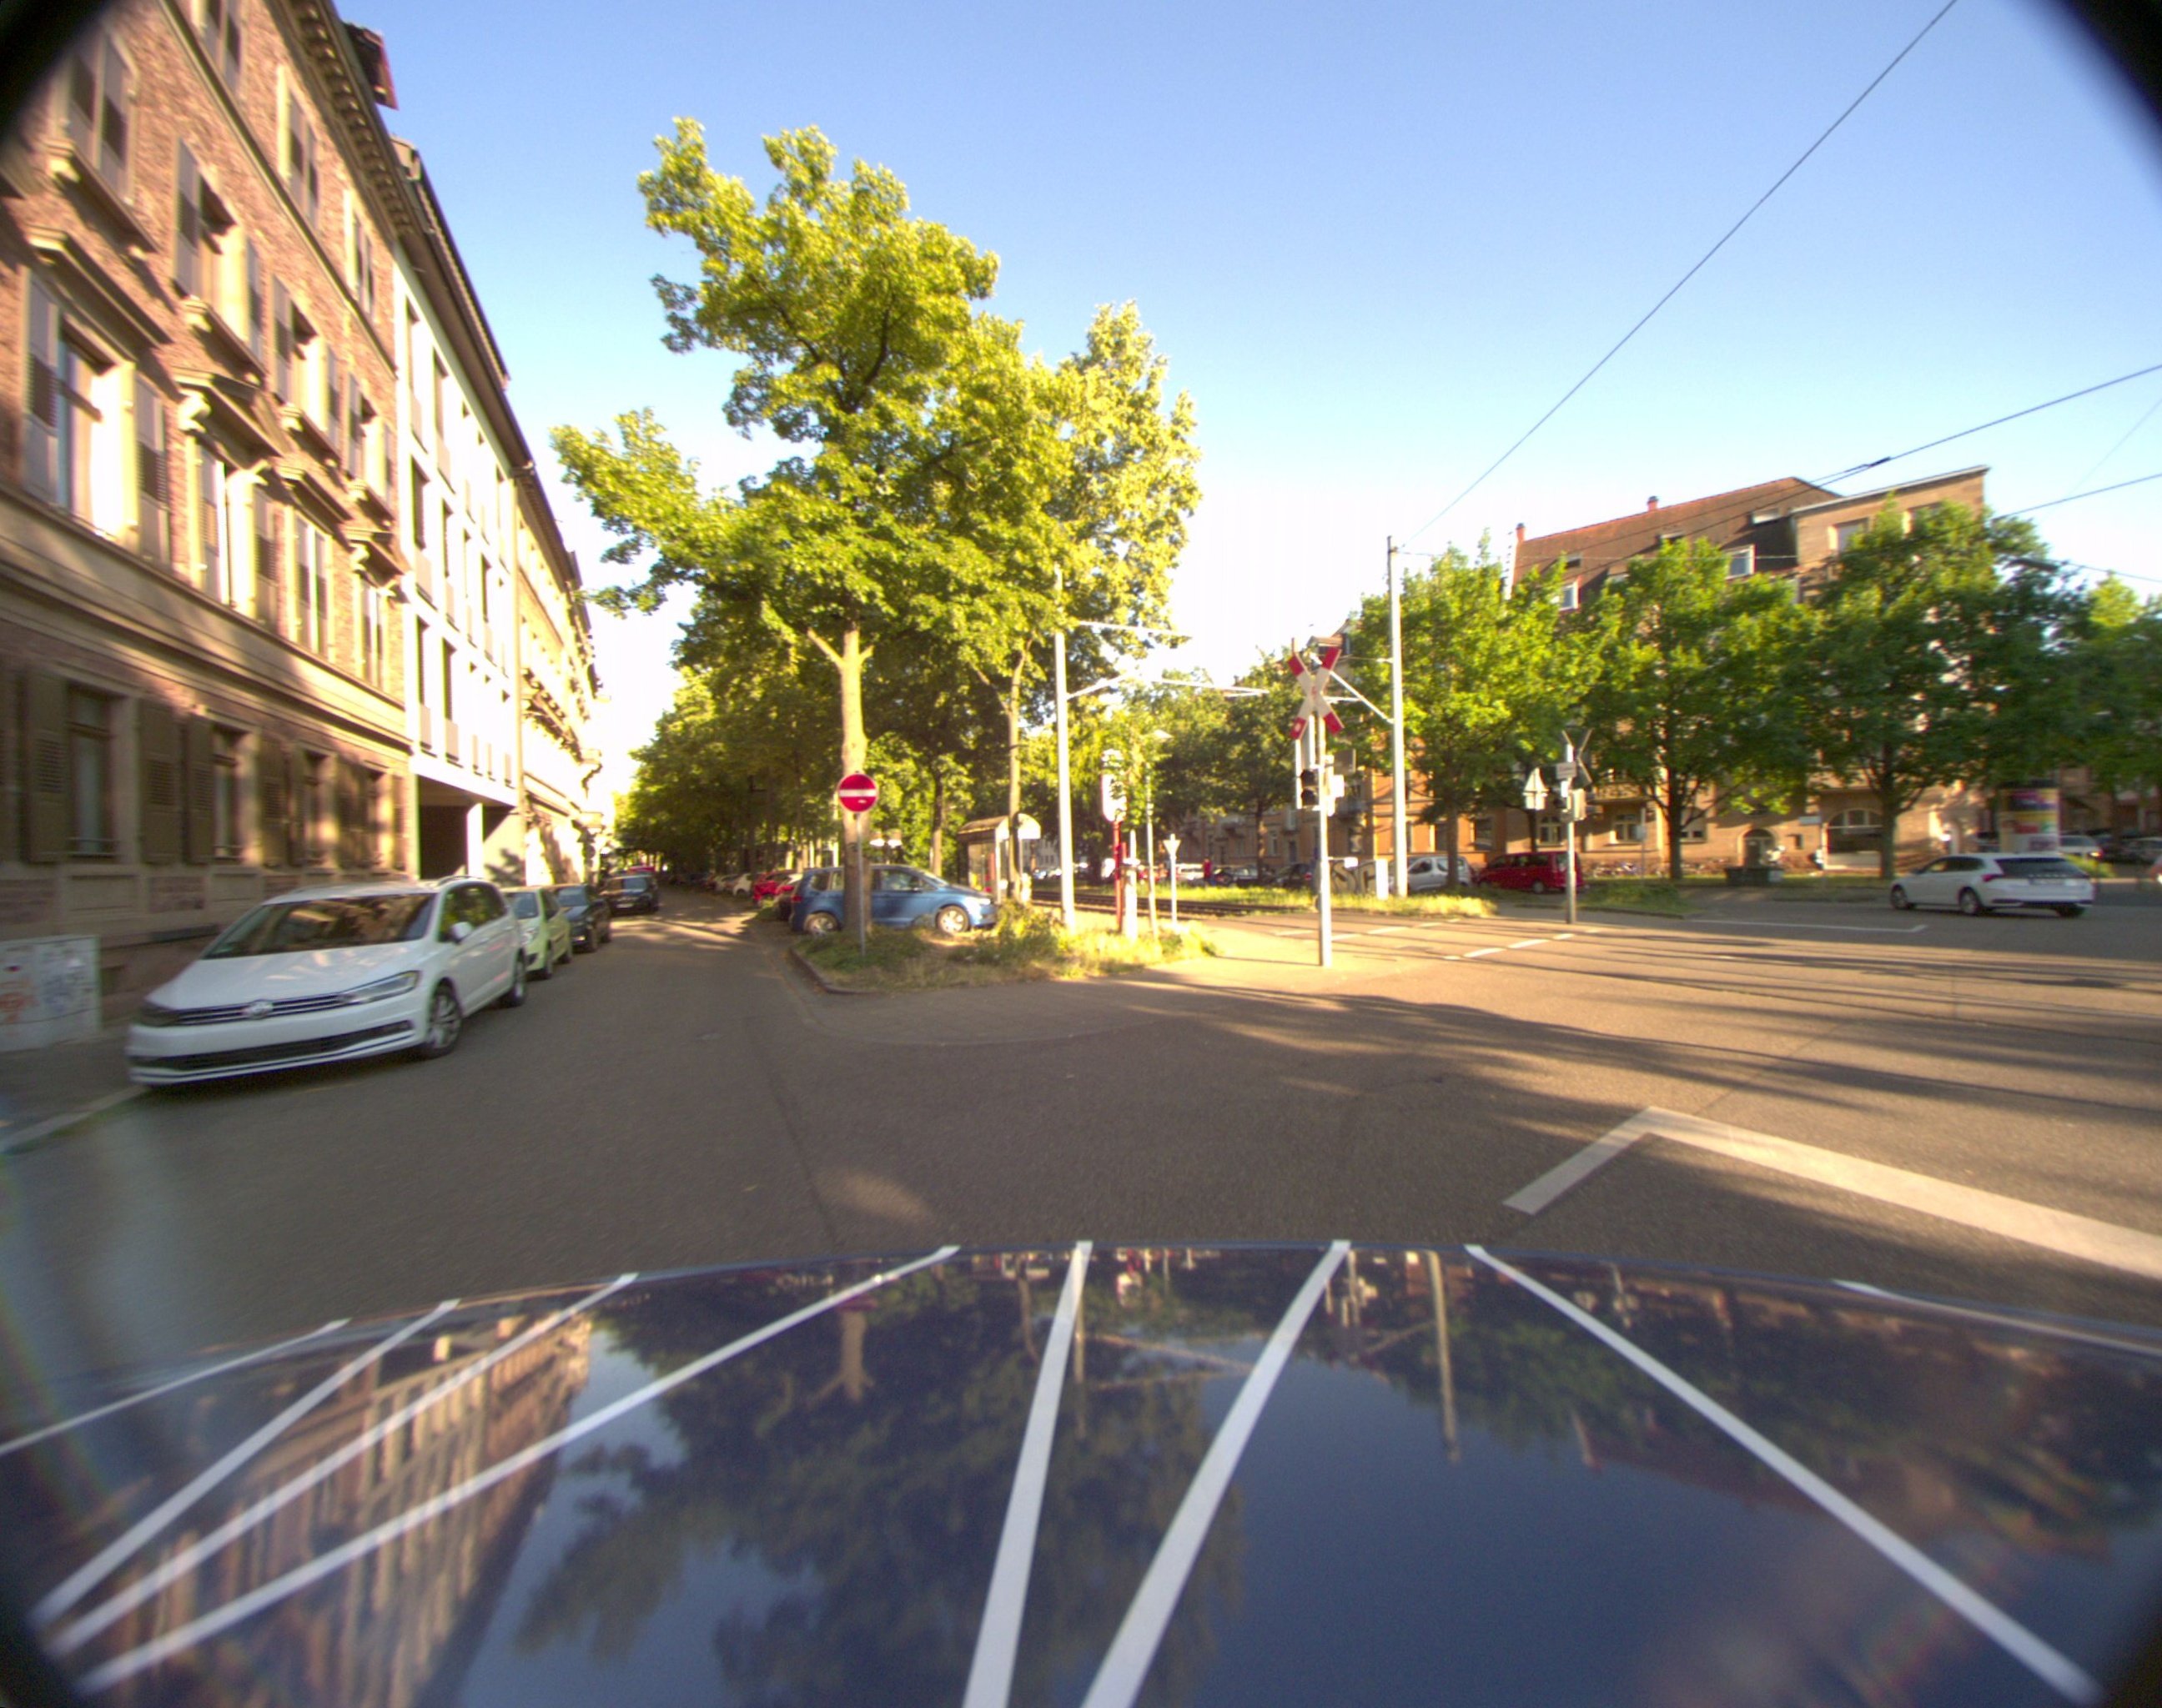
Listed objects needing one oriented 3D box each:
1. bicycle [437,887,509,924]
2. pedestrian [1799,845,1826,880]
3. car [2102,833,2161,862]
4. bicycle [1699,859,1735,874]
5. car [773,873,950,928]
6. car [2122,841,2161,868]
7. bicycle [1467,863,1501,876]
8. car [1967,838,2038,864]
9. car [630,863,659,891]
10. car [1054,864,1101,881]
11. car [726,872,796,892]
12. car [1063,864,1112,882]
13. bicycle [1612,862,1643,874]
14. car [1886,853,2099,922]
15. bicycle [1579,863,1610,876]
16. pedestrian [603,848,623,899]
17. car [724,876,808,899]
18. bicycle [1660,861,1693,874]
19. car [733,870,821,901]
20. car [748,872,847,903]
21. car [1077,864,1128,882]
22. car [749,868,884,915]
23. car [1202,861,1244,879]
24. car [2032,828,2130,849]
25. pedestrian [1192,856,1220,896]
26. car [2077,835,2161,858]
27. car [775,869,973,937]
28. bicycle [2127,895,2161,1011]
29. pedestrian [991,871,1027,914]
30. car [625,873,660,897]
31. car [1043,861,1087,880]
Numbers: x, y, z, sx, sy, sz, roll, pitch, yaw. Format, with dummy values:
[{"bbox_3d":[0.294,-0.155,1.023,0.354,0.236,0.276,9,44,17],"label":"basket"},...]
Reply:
[{"bbox_3d":[-20.724,1.743,25.958,0.682,1.110,2.097,-1,0,2],"label":"bicycle"},{"bbox_3d":[36.450,0.417,37.871,0.909,1.708,0.677,-1,2,41],"label":"pedestrian"},{"bbox_3d":[63.491,-0.388,44.649,3.994,1.626,1.875,-1,0,9],"label":"car"},{"bbox_3d":[35.494,0.706,42.441,1.506,0.728,0.369,-4,-1,37],"label":"bicycle"},{"bbox_3d":[-6.273,1.314,22.067,4.548,1.478,1.930,-1,-1,4],"label":"car"},{"bbox_3d":[61.359,0.002,42.212,3.994,1.496,1.875,-1,0,9],"label":"car"},{"bbox_3d":[26.298,1.020,49.603,1.894,0.843,0.527,-2,-1,37],"label":"bicycle"},{"bbox_3d":[52.780,-0.147,43.596,1.868,1.391,4.008,-1,0,40],"label":"car"},{"bbox_3d":[-35.798,1.848,62.420,2.003,2.159,4.602,0,-1,-29],"label":"car"},{"bbox_3d":[-0.339,1.698,70.088,4.003,1.480,1.682,0,-1,-17],"label":"car"},{"bbox_3d":[-21.416,1.890,50.929,3.996,1.271,1.749,-1,-1,3],"label":"car"},{"bbox_3d":[0.561,1.656,67.464,4.003,1.480,1.682,0,-1,-17],"label":"car"},{"bbox_3d":[32.216,0.824,44.797,1.506,0.728,0.369,-1,0,37],"label":"bicycle"},{"bbox_3d":[21.477,0.719,18.164,1.703,1.448,4.070,-1,-1,25],"label":"car"},{"bbox_3d":[30.697,0.937,45.463,1.506,0.728,0.369,-1,0,37],"label":"bicycle"},{"bbox_3d":[-27.291,1.117,44.320,0.922,2.930,0.698,-1,0,-30],"label":"pedestrian"},{"bbox_3d":[-18.876,2.015,45.590,4.278,1.271,1.810,-1,-1,2],"label":"car"},{"bbox_3d":[34.160,0.774,43.598,1.506,0.728,0.369,-1,0,37],"label":"bicycle"},{"bbox_3d":[-17.212,1.754,43.165,4.276,1.685,1.810,-1,0,7],"label":"car"},{"bbox_3d":[-14.091,1.652,37.857,4.276,1.478,1.810,-1,-1,7],"label":"car"},{"bbox_3d":[1.847,1.601,65.122,4.003,1.480,1.682,0,-1,-17],"label":"car"},{"bbox_3d":[-10.070,1.414,29.056,4.544,1.711,1.932,-1,-1,13],"label":"car"},{"bbox_3d":[12.079,1.367,64.958,1.770,1.375,4.284,-3,0,-16],"label":"car"},{"bbox_3d":[70.504,-1.072,53.611,3.994,1.391,1.875,-1,0,9],"label":"car"},{"bbox_3d":[6.090,1.062,37.053,0.906,1.907,1.148,-1,0,-17],"label":"pedestrian"},{"bbox_3d":[64.903,-0.465,46.847,3.994,1.391,1.875,-1,0,9],"label":"car"},{"bbox_3d":[-5.241,1.223,19.618,4.548,1.625,1.930,-1,0,4],"label":"car"},{"bbox_3d":[11.402,0.964,7.645,2.126,1.048,0.699,-1,0,-27],"label":"bicycle"},{"bbox_3d":[-2.190,1.162,23.206,0.826,1.265,0.875,-1,0,-25],"label":"pedestrian"},{"bbox_3d":[-30.310,2.122,52.651,2.003,1.558,4.602,0,-1,-29],"label":"car"},{"bbox_3d":[-1.534,1.593,74.551,4.003,1.821,1.682,0,0,-17],"label":"car"}]
